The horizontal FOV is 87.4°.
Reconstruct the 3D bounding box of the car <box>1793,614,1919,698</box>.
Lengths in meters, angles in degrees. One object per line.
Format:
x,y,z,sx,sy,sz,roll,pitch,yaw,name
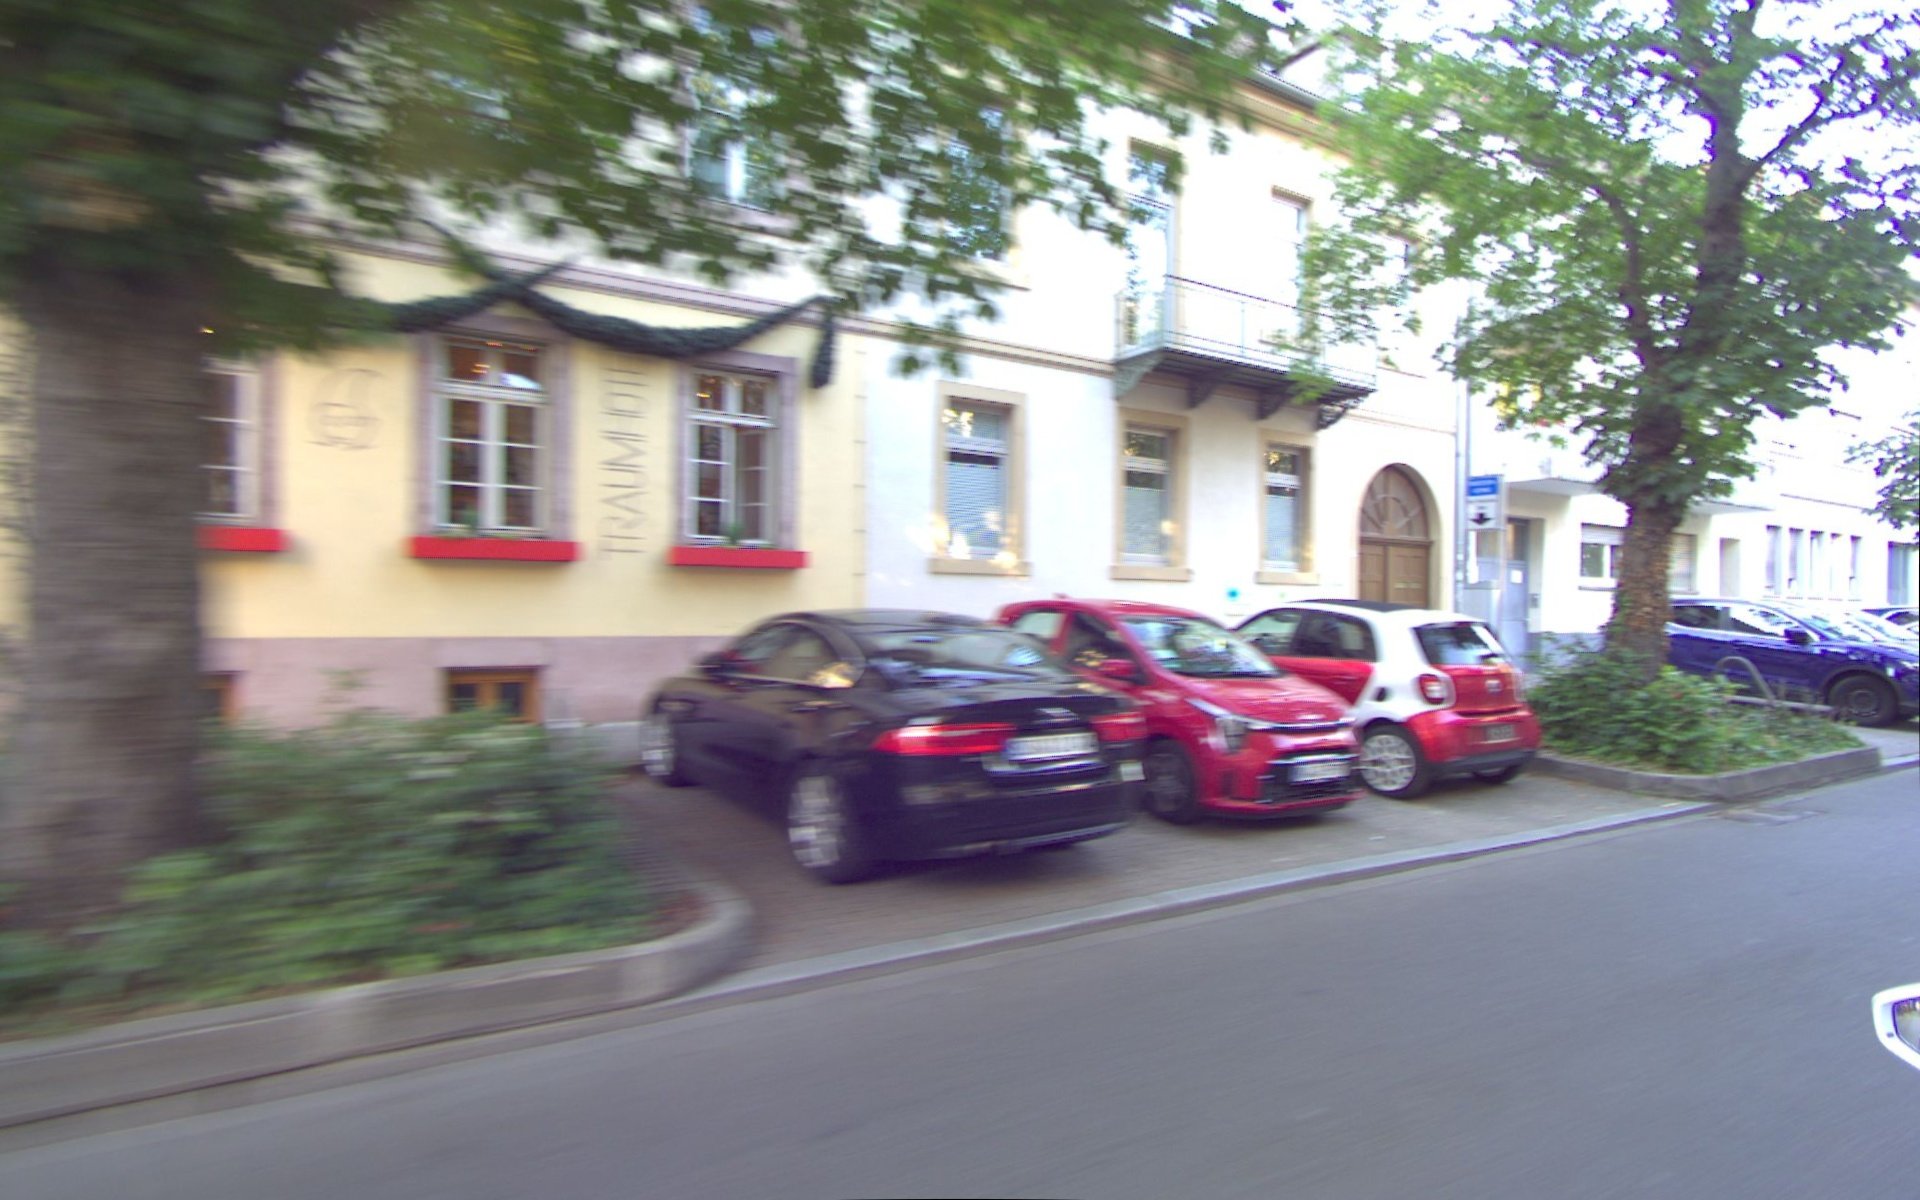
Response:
18.417,1.064,18.917,1.833,1.470,3.825,0,1,-31,car

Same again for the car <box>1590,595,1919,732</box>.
12.111,0.818,14.829,1.908,1.594,4.331,1,2,-31,car

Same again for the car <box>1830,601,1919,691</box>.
20.748,0.960,20.094,2.132,1.789,4.640,1,0,-31,car
